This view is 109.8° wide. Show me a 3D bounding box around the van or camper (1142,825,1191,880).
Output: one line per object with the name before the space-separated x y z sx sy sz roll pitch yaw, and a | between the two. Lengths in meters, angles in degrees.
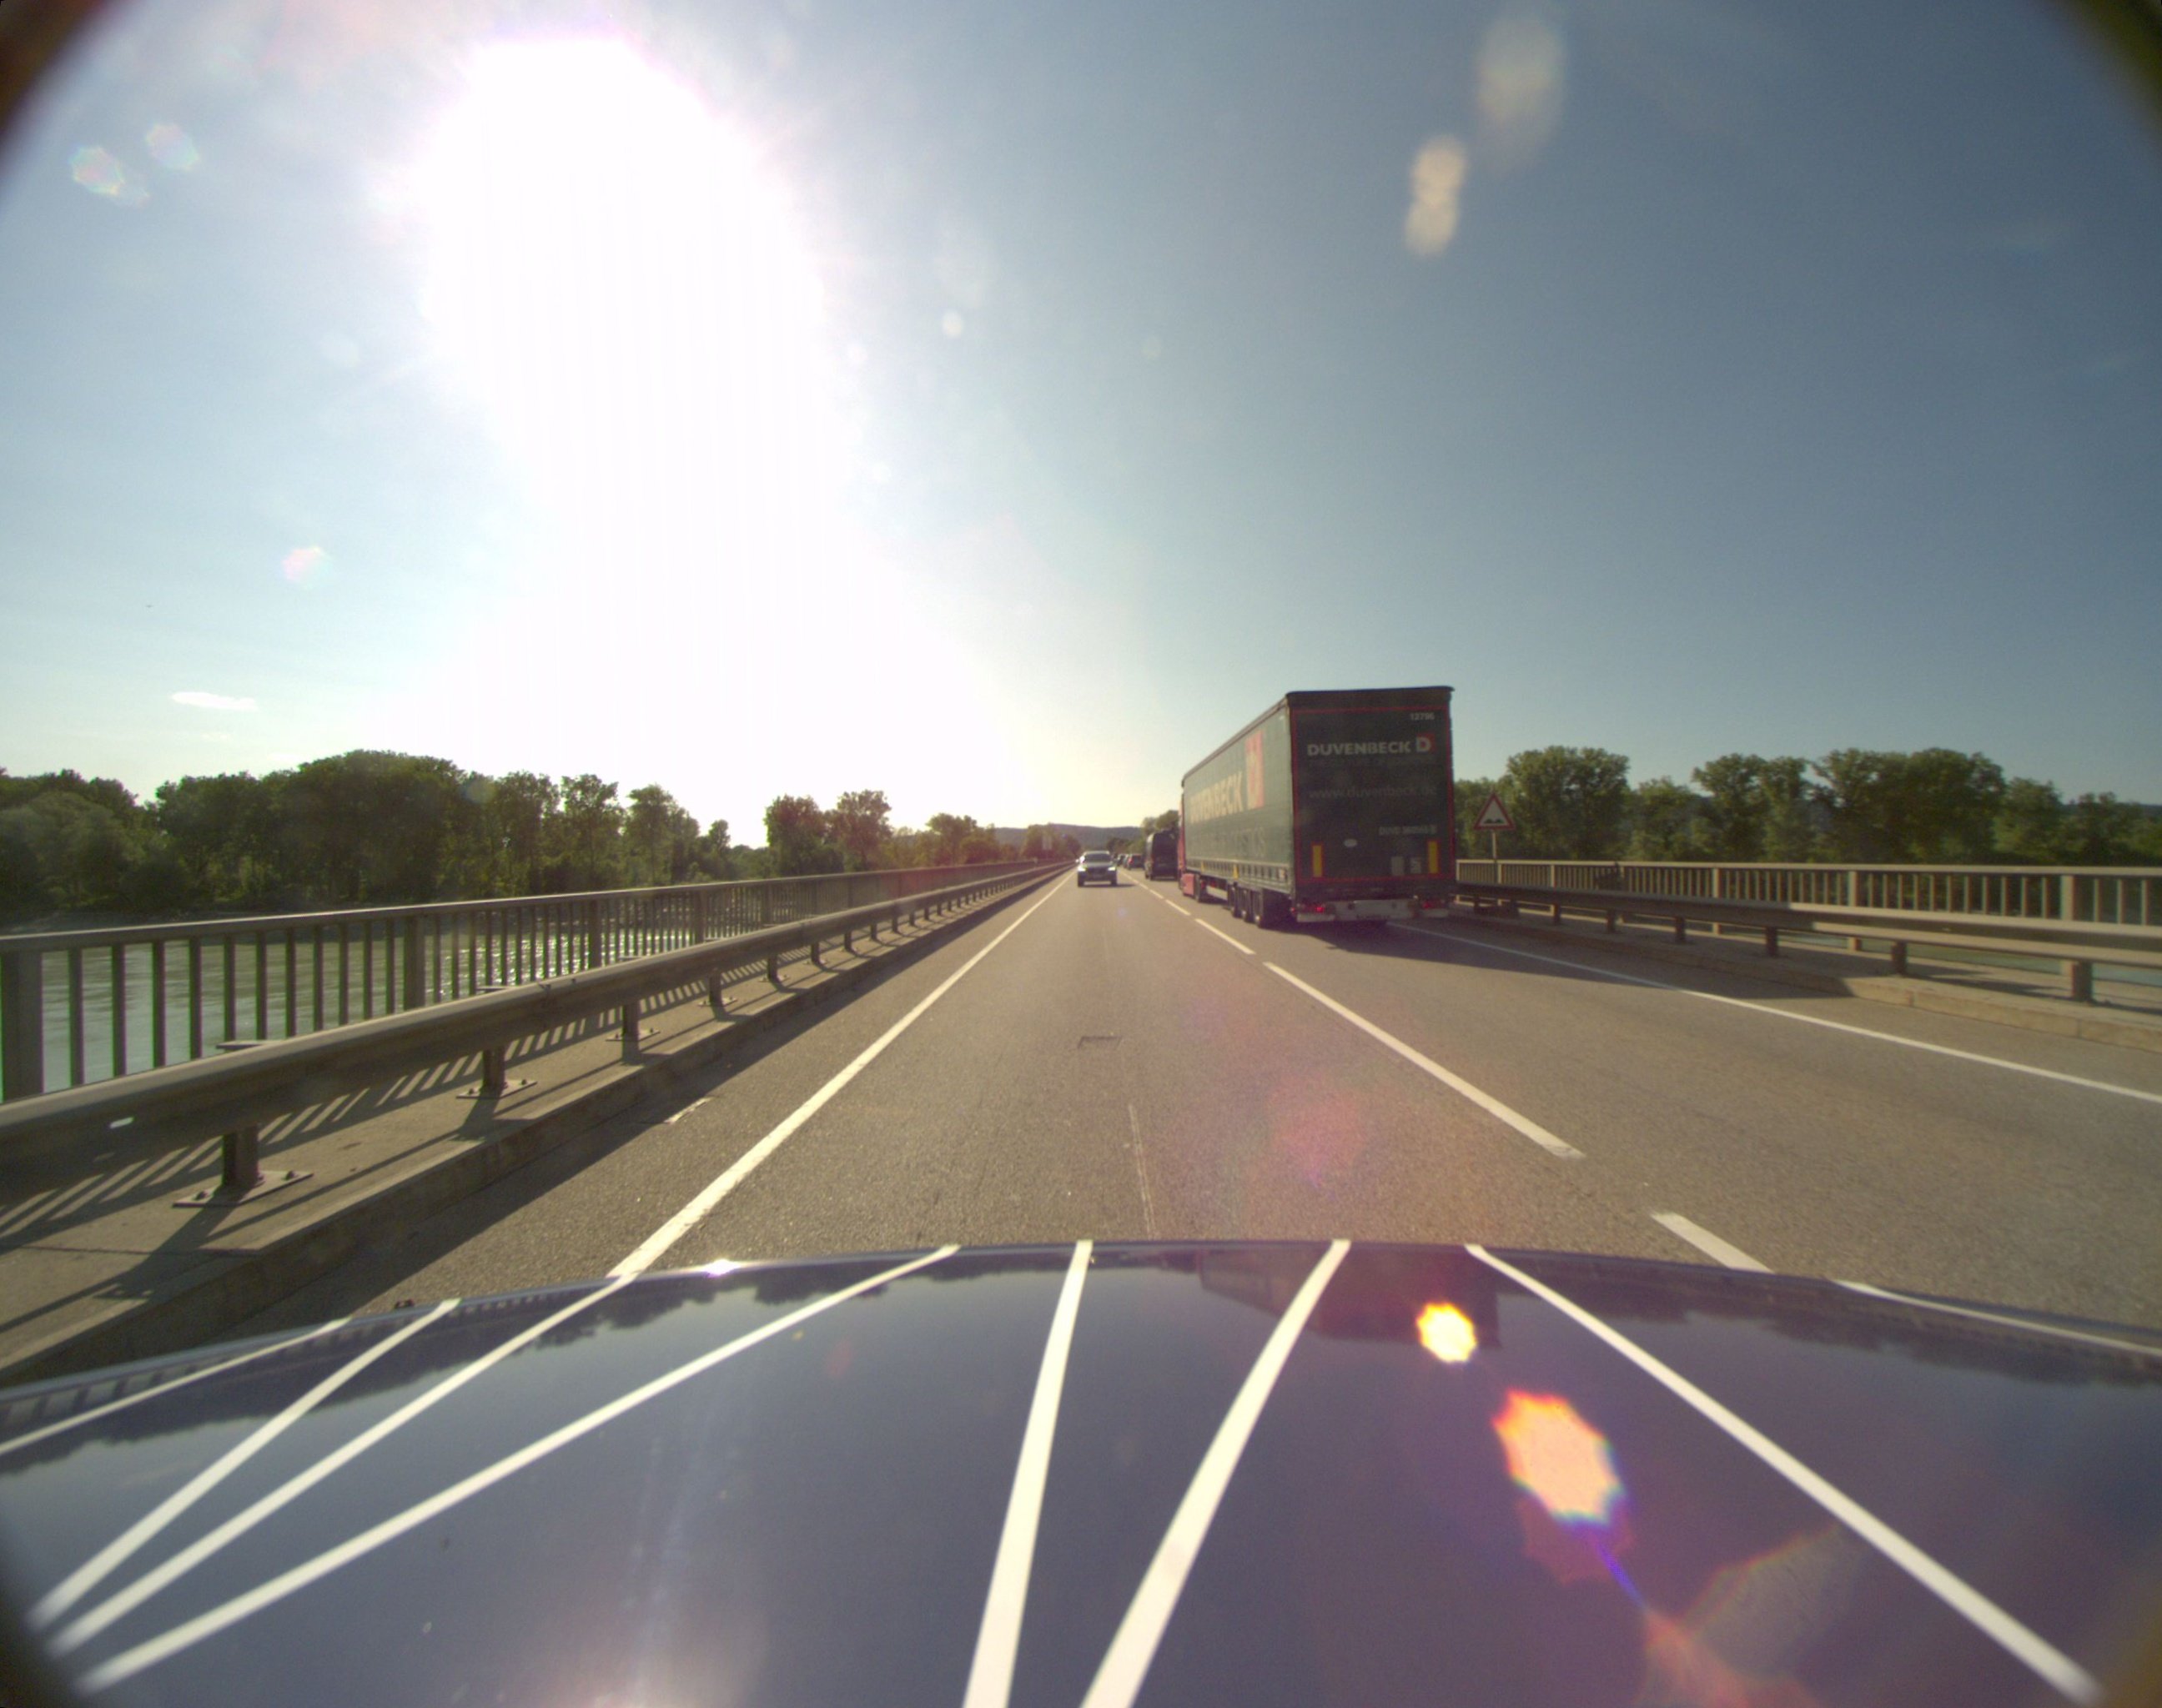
van or camper | 5.037 -0.091 45.694 2.321 3.033 6.818 -2 0 2

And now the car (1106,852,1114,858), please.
car | 6.512 0.215 171.944 1.770 1.439 4.456 -2 0 1

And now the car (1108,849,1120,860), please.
car | 5.796 0.076 134.227 1.859 1.712 4.566 -2 0 2

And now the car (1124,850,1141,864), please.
car | 5.948 0.321 87.455 1.810 1.568 4.201 -2 0 3

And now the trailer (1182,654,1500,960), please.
trailer | 4.663 -0.680 17.999 2.914 4.277 14.303 -2 0 2

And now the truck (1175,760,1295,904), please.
truck | 4.877 -0.645 25.192 2.915 4.160 5.713 -2 0 2

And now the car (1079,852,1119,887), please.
car | 0.919 0.747 38.530 1.871 1.598 4.380 -2 0 2

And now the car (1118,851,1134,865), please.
car | 6.195 0.531 104.837 2.058 1.643 4.721 -3 0 2

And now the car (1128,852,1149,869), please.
car | 5.706 0.623 75.723 1.879 1.574 4.274 -1 0 1
